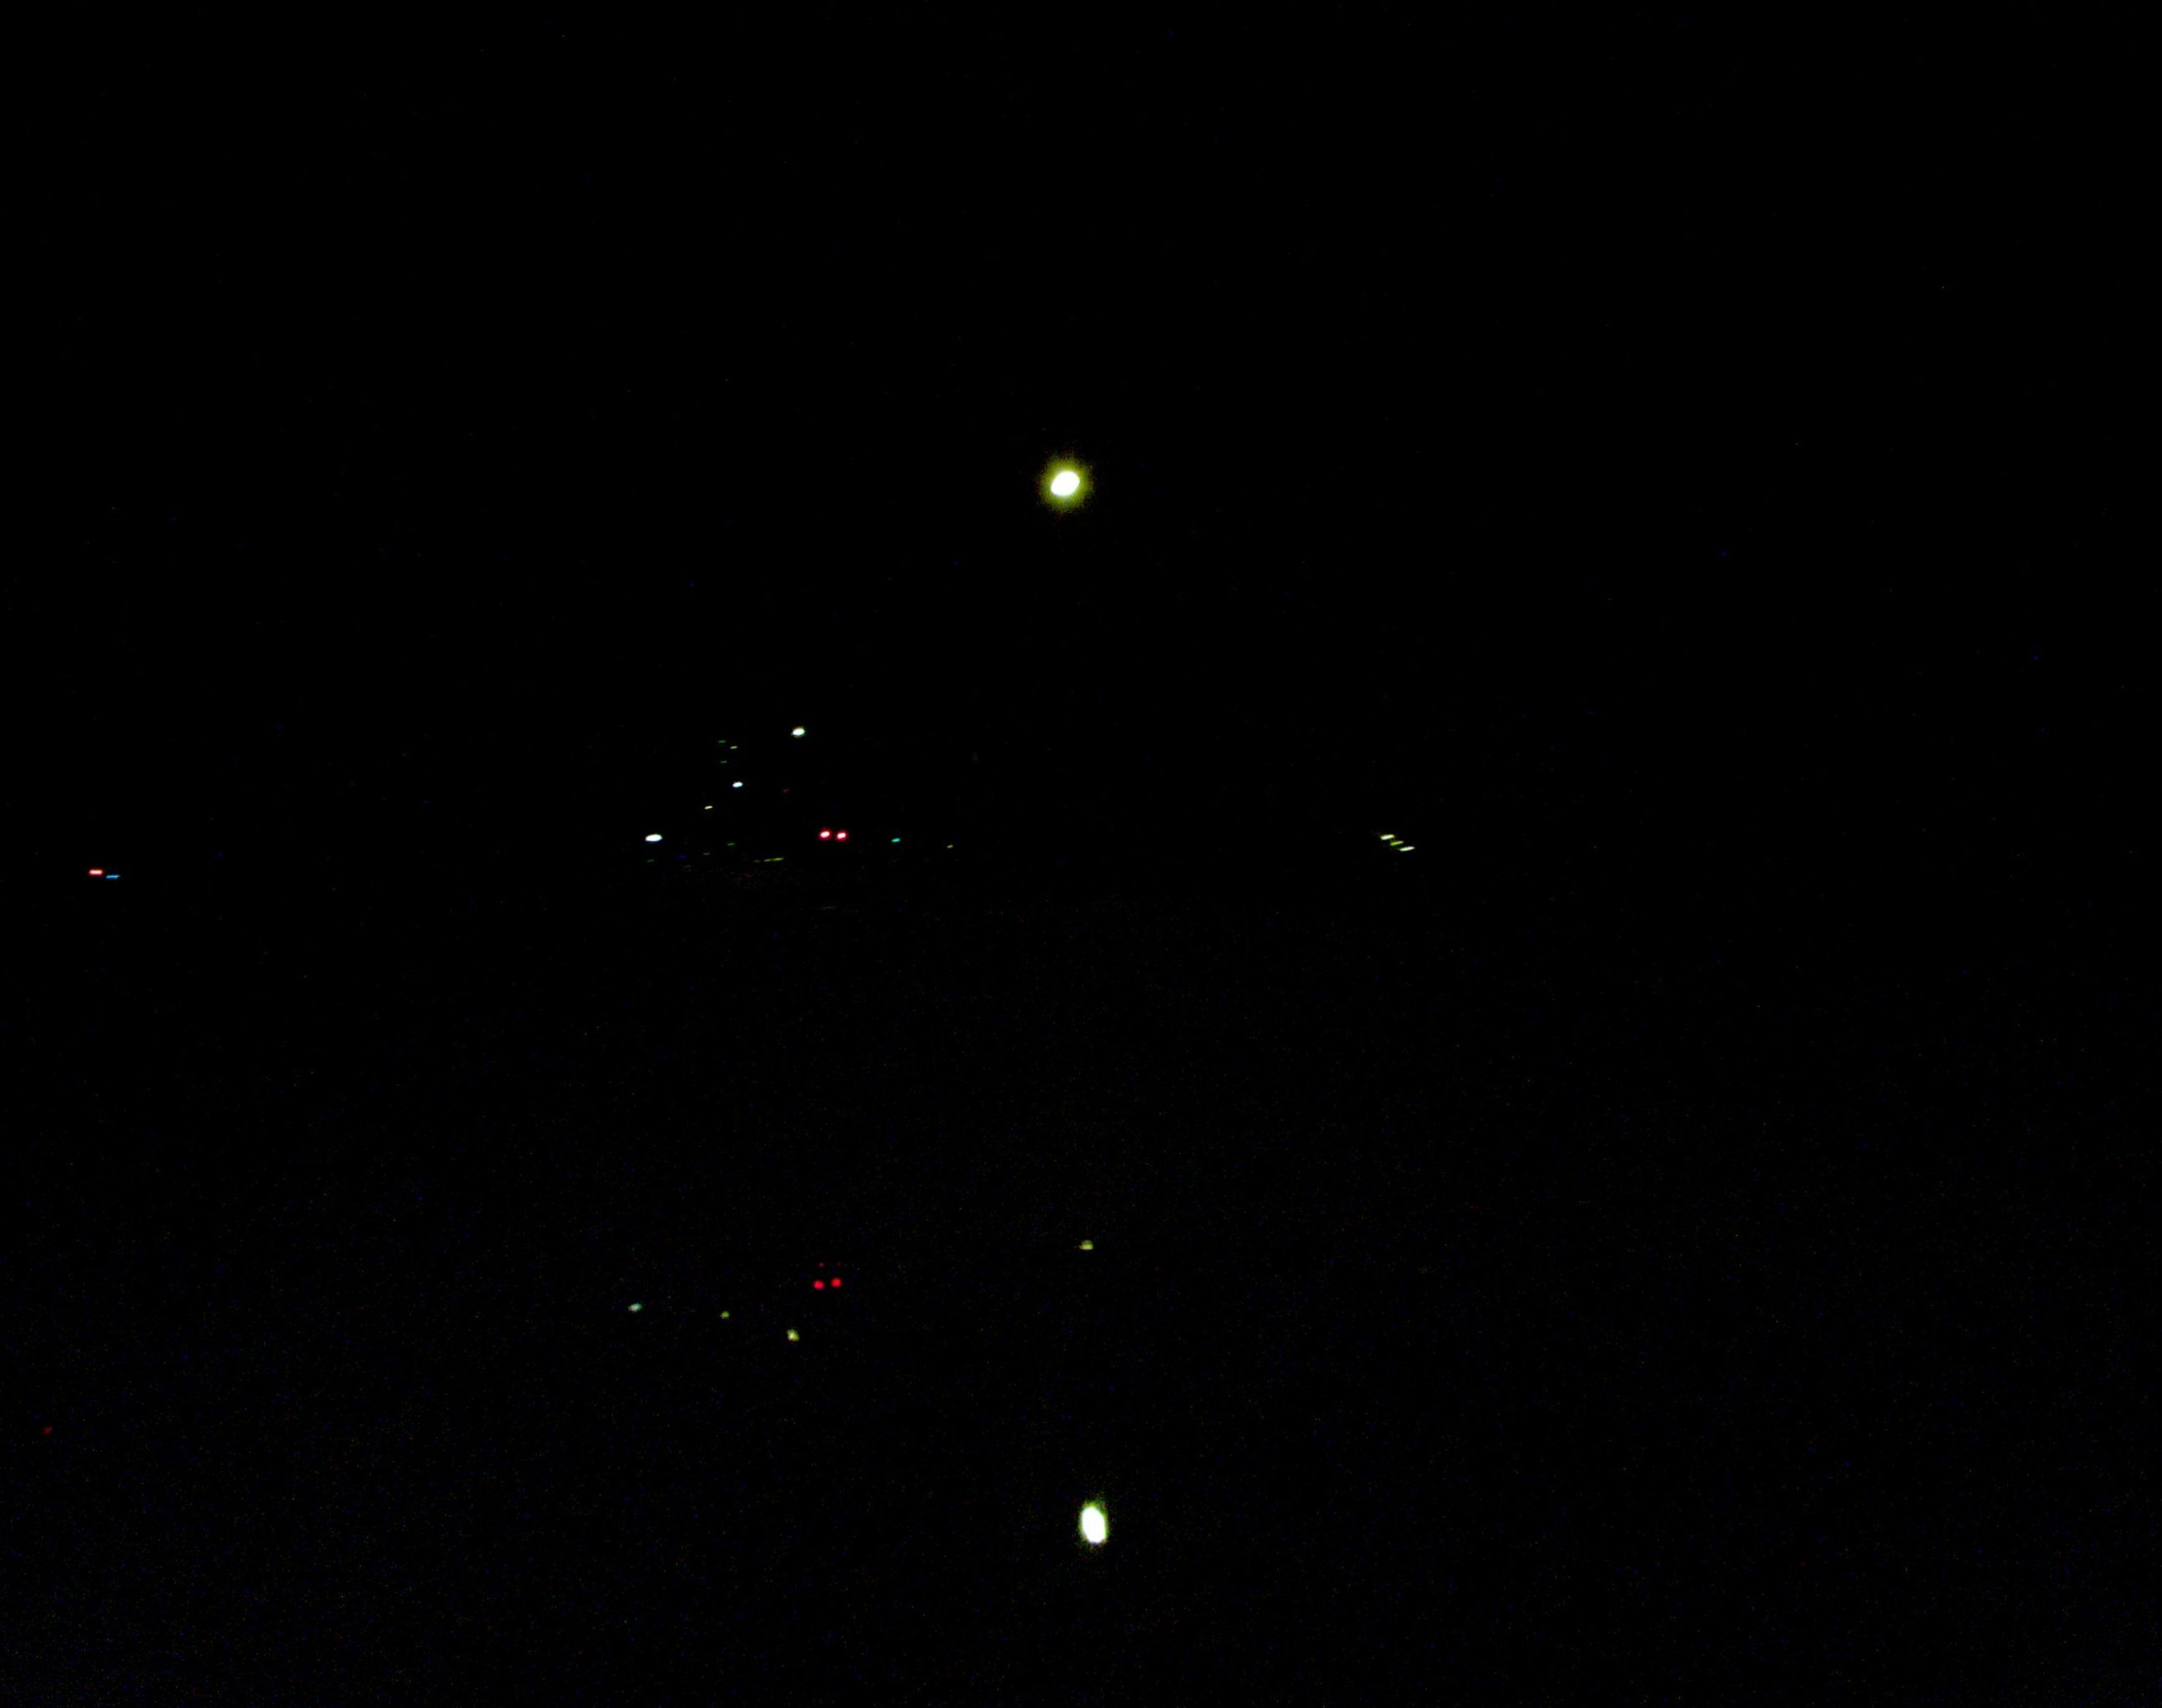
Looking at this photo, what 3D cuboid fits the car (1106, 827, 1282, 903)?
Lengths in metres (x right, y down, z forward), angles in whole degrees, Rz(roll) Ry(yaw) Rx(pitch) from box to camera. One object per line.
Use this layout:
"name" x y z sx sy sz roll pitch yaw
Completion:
"car" 2.557 0.235 18.241 1.645 1.426 4.339 -8 4 -32

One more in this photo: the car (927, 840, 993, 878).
"car" -5.249 0.212 32.695 1.636 1.456 3.506 -5 2 -29

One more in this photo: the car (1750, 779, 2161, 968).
"car" 9.227 0.111 6.852 1.869 1.426 4.393 -7 3 -31

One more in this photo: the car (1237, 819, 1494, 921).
"car" 4.980 0.239 13.949 1.558 1.426 4.337 -8 4 -30
